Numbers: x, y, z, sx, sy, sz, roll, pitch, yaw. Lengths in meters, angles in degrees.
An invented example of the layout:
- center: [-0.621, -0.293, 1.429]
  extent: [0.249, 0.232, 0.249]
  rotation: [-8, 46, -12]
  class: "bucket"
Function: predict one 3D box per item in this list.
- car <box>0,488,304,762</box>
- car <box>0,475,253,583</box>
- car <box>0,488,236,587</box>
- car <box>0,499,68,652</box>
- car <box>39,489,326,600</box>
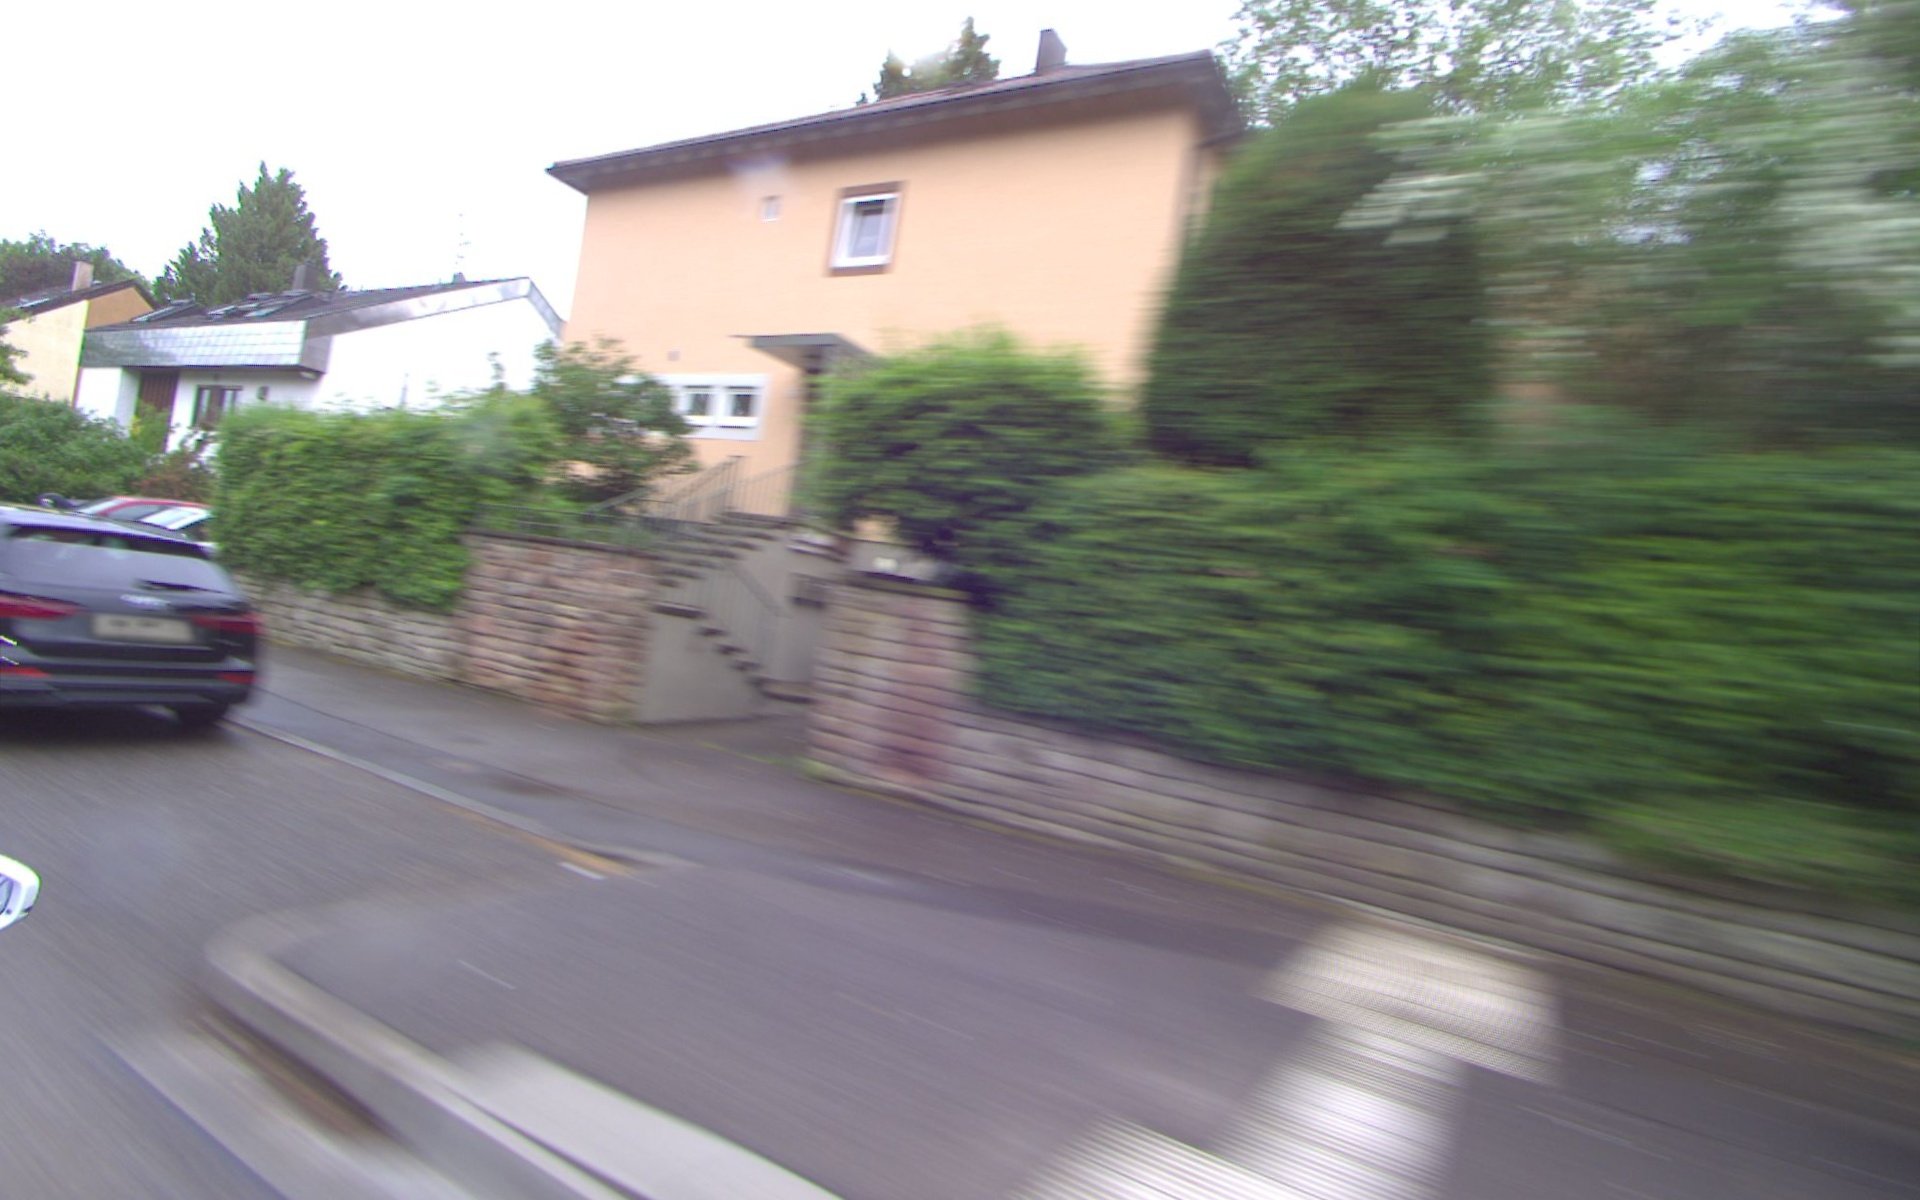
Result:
- center: [-7.114, 0.015, 7.494]
  extent: [4.553, 1.565, 1.833]
  rotation: [6, -2, 31]
  class: "car"
- center: [-16.503, -1.357, 19.852]
  extent: [1.851, 1.585, 3.662]
  rotation: [7, 0, 31]
  class: "car"
- center: [-18.124, -1.297, 21.132]
  extent: [1.851, 1.477, 4.253]
  rotation: [6, -2, 31]
  class: "car"
- center: [-10.995, -0.456, 10.086]
  extent: [4.034, 1.414, 1.817]
  rotation: [6, -2, 30]
  class: "car"
- center: [-14.007, -0.943, 18.334]
  extent: [1.797, 1.556, 3.661]
  rotation: [7, 2, 29]
  class: "car"
